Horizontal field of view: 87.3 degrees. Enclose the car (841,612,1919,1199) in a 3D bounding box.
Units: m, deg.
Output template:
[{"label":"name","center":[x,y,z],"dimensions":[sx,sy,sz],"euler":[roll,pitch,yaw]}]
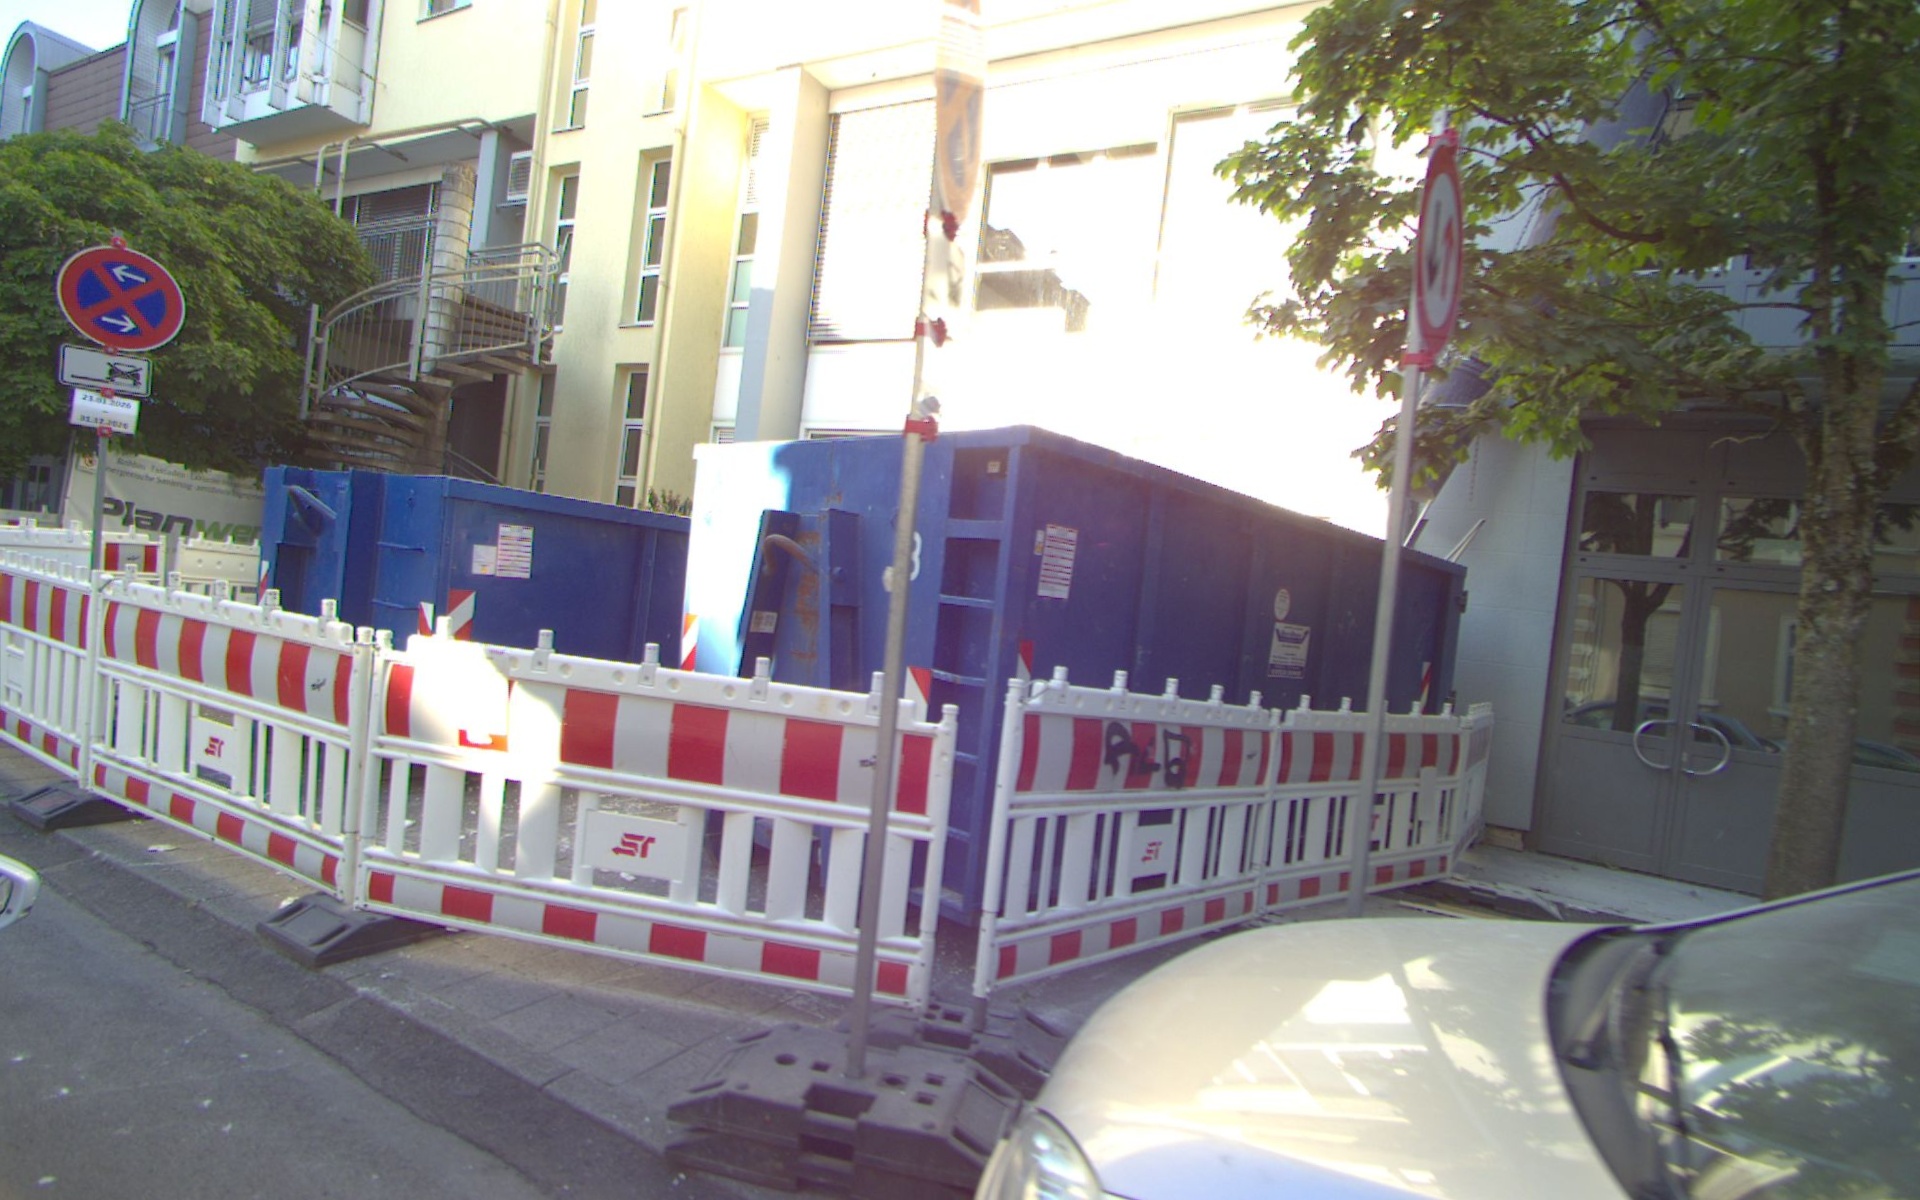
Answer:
[{"label":"car","center":[1.809,0.983,1.245],"dimensions":[3.668,1.495,1.677],"euler":[7,2,32]}]
